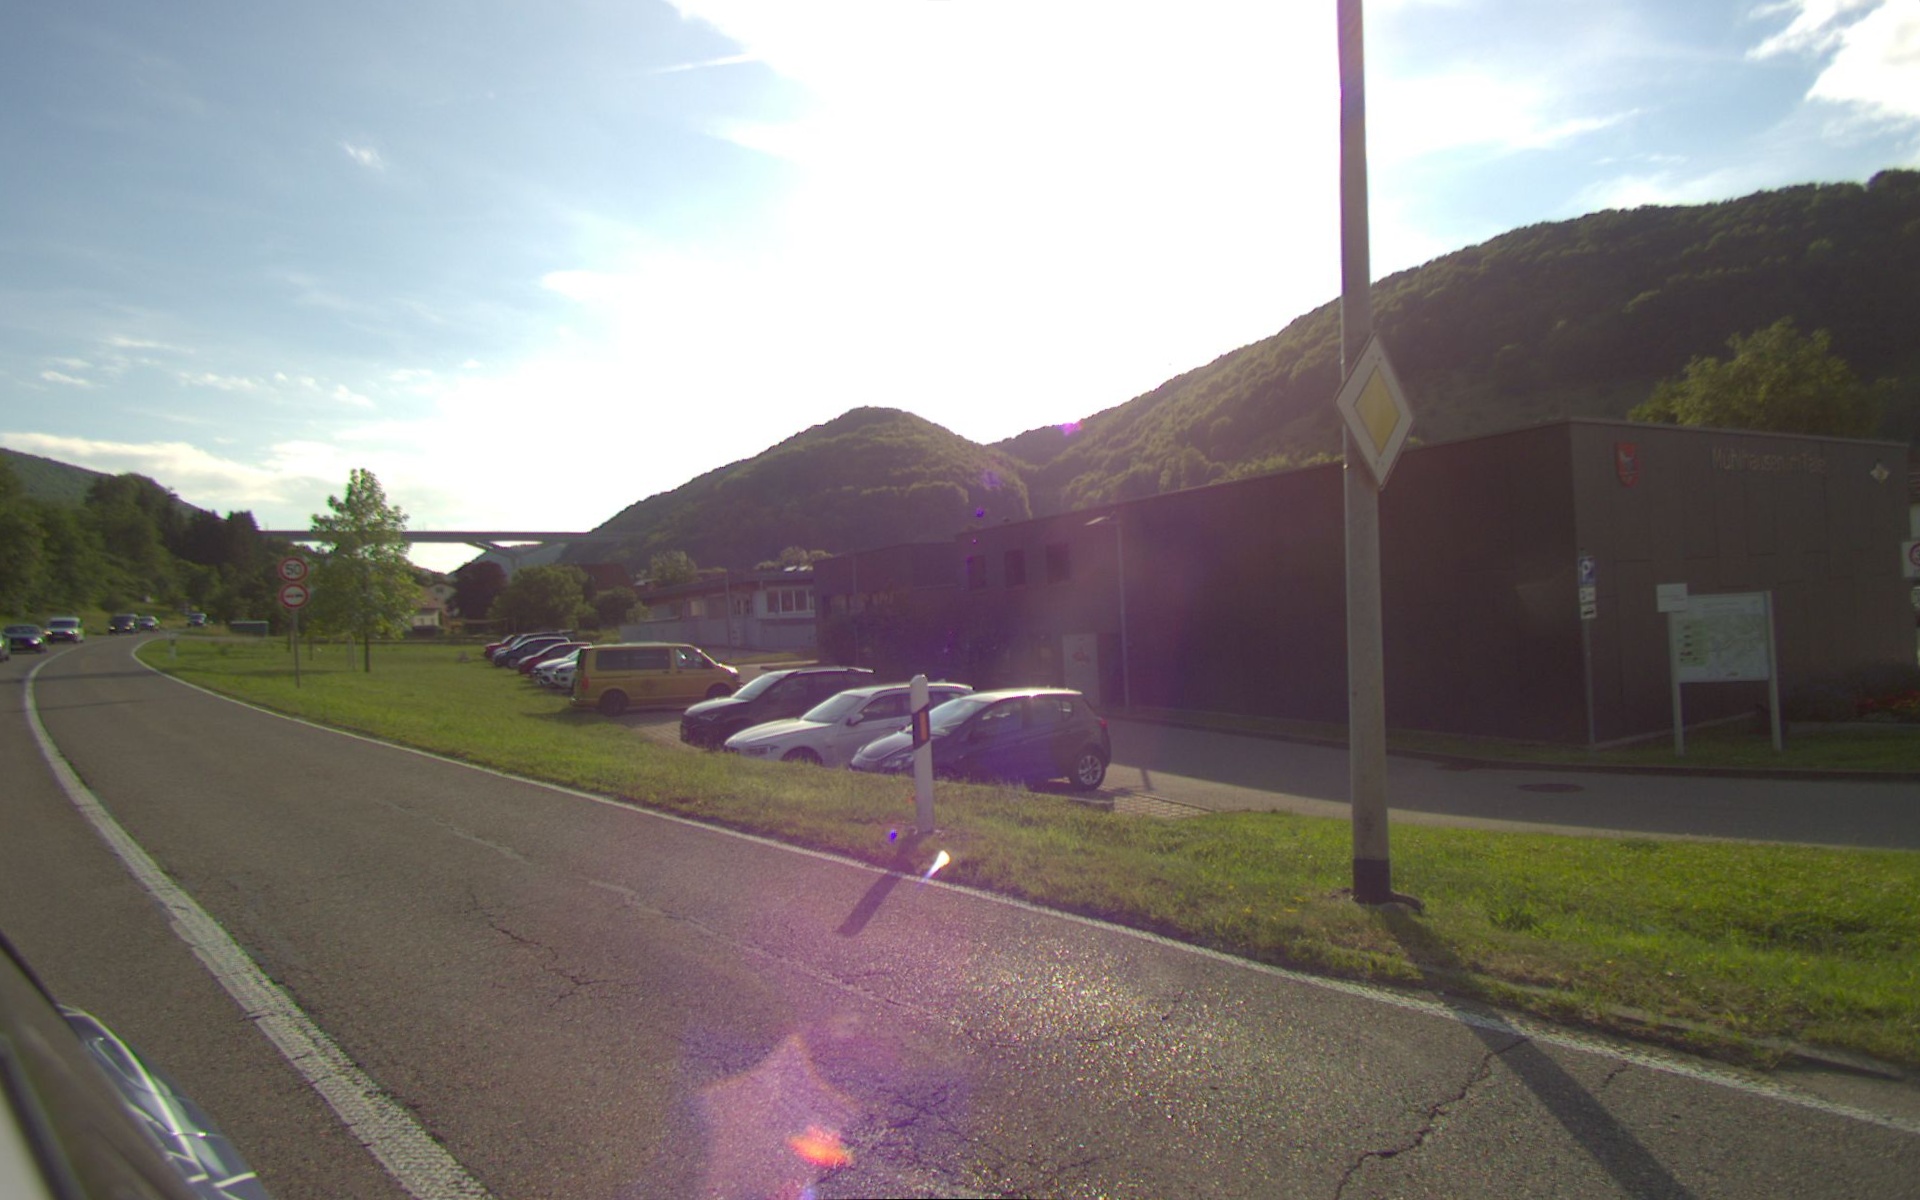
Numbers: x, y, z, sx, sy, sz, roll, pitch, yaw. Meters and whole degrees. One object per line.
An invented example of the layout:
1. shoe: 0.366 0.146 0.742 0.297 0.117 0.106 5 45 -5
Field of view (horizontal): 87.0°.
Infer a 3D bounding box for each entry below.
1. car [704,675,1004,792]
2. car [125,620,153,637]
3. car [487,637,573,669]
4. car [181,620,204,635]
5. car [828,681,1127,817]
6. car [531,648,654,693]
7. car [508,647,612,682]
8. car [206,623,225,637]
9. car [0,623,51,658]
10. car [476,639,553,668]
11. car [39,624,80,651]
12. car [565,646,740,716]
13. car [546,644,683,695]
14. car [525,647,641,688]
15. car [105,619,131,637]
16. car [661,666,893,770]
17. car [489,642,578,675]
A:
1. car: -1.711 2.095 16.800 4.575 1.508 1.918 1 -2 -32
2. car: -88.212 3.107 108.761 1.966 1.730 4.010 -1 -2 -34
3. car: -25.704 3.137 60.541 4.594 1.776 2.006 0 -2 -29
4. car: -102.807 3.668 135.536 1.880 1.918 4.012 0 0 -29
5. car: 0.271 2.050 14.706 3.931 1.546 1.839 0 -2 -28
6. car: -14.521 2.751 39.998 4.370 1.599 2.006 0 -2 -27
7. car: -18.698 2.984 47.312 4.370 1.463 2.006 0 -2 -27
8. car: -108.445 4.404 147.352 1.880 1.918 4.012 0 0 -32
9. car: -47.355 2.068 51.287 1.884 1.698 4.005 0 -2 -41
10. car: -28.611 3.415 65.012 4.370 1.733 2.006 0 -2 -29
11. car: -62.132 2.598 69.873 1.771 1.749 4.292 0 -2 -37
12. car: -8.947 2.298 29.514 4.582 1.827 2.006 0 -2 -27
13. car: -12.632 2.490 37.043 4.476 1.714 2.006 0 -2 -27
14. car: -16.011 2.827 43.037 4.370 1.595 2.006 0 -2 -29
15. car: -80.080 2.687 96.281 1.652 1.659 3.354 -1 -2 -35
16. car: -3.722 2.327 20.766 4.224 1.650 1.918 -2 -1 -32
17. car: -23.654 3.222 56.171 4.370 1.595 2.006 -1 -2 -29
